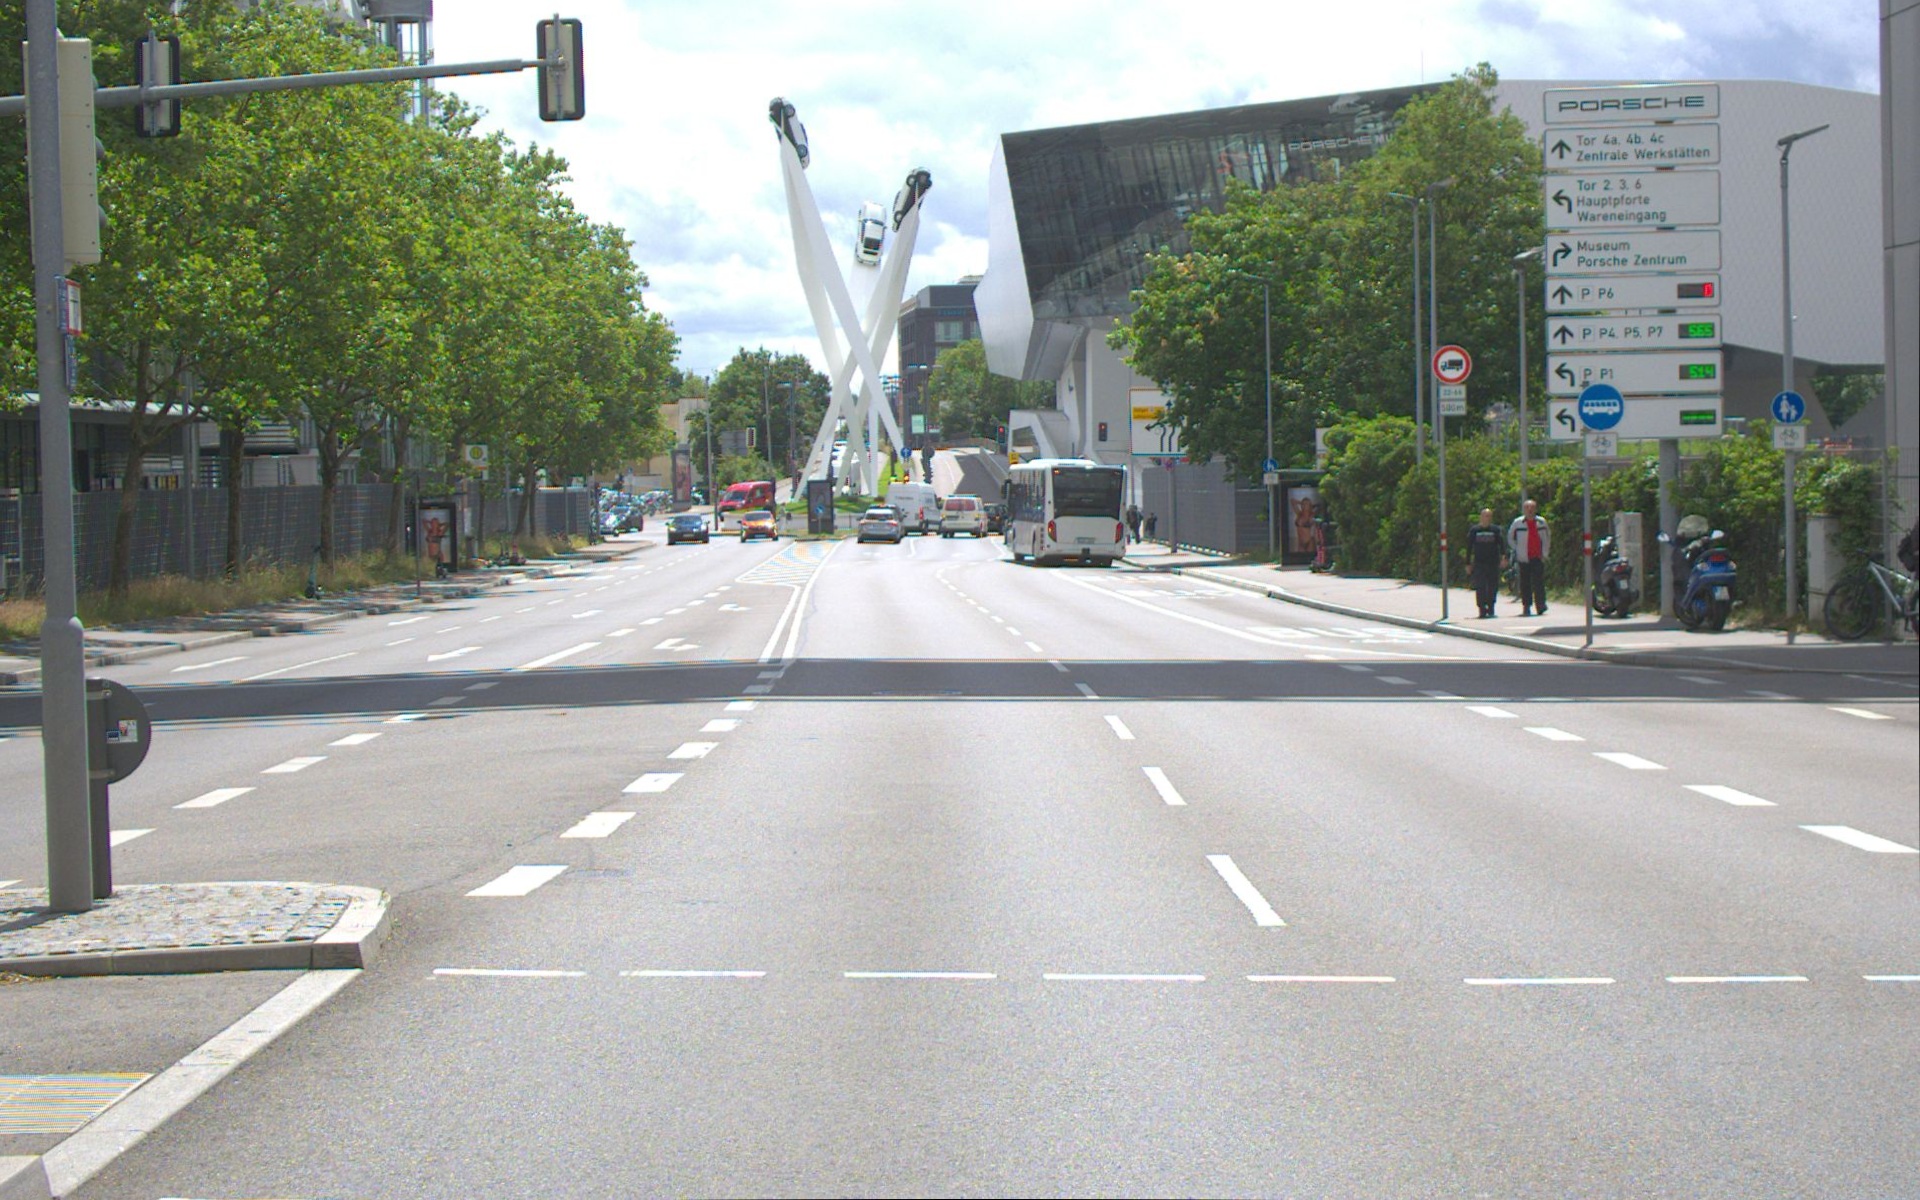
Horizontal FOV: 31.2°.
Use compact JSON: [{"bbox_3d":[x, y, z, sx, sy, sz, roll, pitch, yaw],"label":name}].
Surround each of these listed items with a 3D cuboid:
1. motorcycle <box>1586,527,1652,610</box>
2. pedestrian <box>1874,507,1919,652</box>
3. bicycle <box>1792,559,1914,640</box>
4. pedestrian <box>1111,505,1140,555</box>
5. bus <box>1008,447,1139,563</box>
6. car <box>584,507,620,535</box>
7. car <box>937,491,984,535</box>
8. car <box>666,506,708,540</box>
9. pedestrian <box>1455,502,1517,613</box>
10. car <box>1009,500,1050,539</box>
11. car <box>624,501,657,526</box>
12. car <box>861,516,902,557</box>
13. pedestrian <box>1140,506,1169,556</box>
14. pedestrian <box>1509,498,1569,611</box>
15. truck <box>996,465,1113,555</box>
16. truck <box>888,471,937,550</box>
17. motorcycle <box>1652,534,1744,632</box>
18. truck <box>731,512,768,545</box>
[{"bbox_3d":[10.099,-0.492,52.737,0.574,1.199,2.024,-2,2,-1],"label":"motorcycle"},{"bbox_3d":[10.922,-0.241,38.771,0.849,1.619,0.954,1,1,41],"label":"pedestrian"},{"bbox_3d":[10.623,-0.018,40.960,0.397,0.933,1.929,0,1,-19],"label":"bicycle"},{"bbox_3d":[6.697,-2.832,139.153,1.028,2.007,0.885,1,0,-4],"label":"pedestrian"},{"bbox_3d":[3.556,-3.004,110.492,3.452,3.531,10.607,0,1,-2],"label":"bus"},{"bbox_3d":[-21.274,-4.687,204.258,1.818,1.532,3.679,-2,1,-2],"label":"car"},{"bbox_3d":[0.025,-4.168,165.560,1.994,2.007,3.999,1,0,3],"label":"car"},{"bbox_3d":[-13.098,-3.681,164.976,1.818,1.532,3.679,-2,1,-2],"label":"car"},{"bbox_3d":[8.138,-0.655,53.194,0.820,1.701,0.881,0,1,-1],"label":"pedestrian"},{"bbox_3d":[3.112,-3.597,153.884,1.738,1.735,3.691,0,1,-1],"label":"car"},{"bbox_3d":[-20.133,-5.434,216.746,1.818,1.532,3.679,-2,1,-2],"label":"car"},{"bbox_3d":[-3.389,-2.752,148.645,1.738,1.735,3.691,0,1,-1],"label":"car"},{"bbox_3d":[7.874,-2.786,139.220,1.028,2.007,0.885,1,0,-4],"label":"pedestrian"},{"bbox_3d":[8.965,-0.704,53.251,0.820,1.735,0.637,0,1,-1],"label":"pedestrian"},{"bbox_3d":[4.766,-4.452,171.669,3.455,4.376,9.412,0,1,17],"label":"truck"},{"bbox_3d":[-2.375,-4.443,172.087,2.392,3.884,6.177,0,1,-1],"label":"truck"},{"bbox_3d":[9.617,-0.237,44.880,0.706,1.199,2.024,-2,2,-1],"label":"motorcycle"},{"bbox_3d":[-9.854,-3.341,160.915,1.583,1.532,3.679,0,1,-6],"label":"truck"}]
